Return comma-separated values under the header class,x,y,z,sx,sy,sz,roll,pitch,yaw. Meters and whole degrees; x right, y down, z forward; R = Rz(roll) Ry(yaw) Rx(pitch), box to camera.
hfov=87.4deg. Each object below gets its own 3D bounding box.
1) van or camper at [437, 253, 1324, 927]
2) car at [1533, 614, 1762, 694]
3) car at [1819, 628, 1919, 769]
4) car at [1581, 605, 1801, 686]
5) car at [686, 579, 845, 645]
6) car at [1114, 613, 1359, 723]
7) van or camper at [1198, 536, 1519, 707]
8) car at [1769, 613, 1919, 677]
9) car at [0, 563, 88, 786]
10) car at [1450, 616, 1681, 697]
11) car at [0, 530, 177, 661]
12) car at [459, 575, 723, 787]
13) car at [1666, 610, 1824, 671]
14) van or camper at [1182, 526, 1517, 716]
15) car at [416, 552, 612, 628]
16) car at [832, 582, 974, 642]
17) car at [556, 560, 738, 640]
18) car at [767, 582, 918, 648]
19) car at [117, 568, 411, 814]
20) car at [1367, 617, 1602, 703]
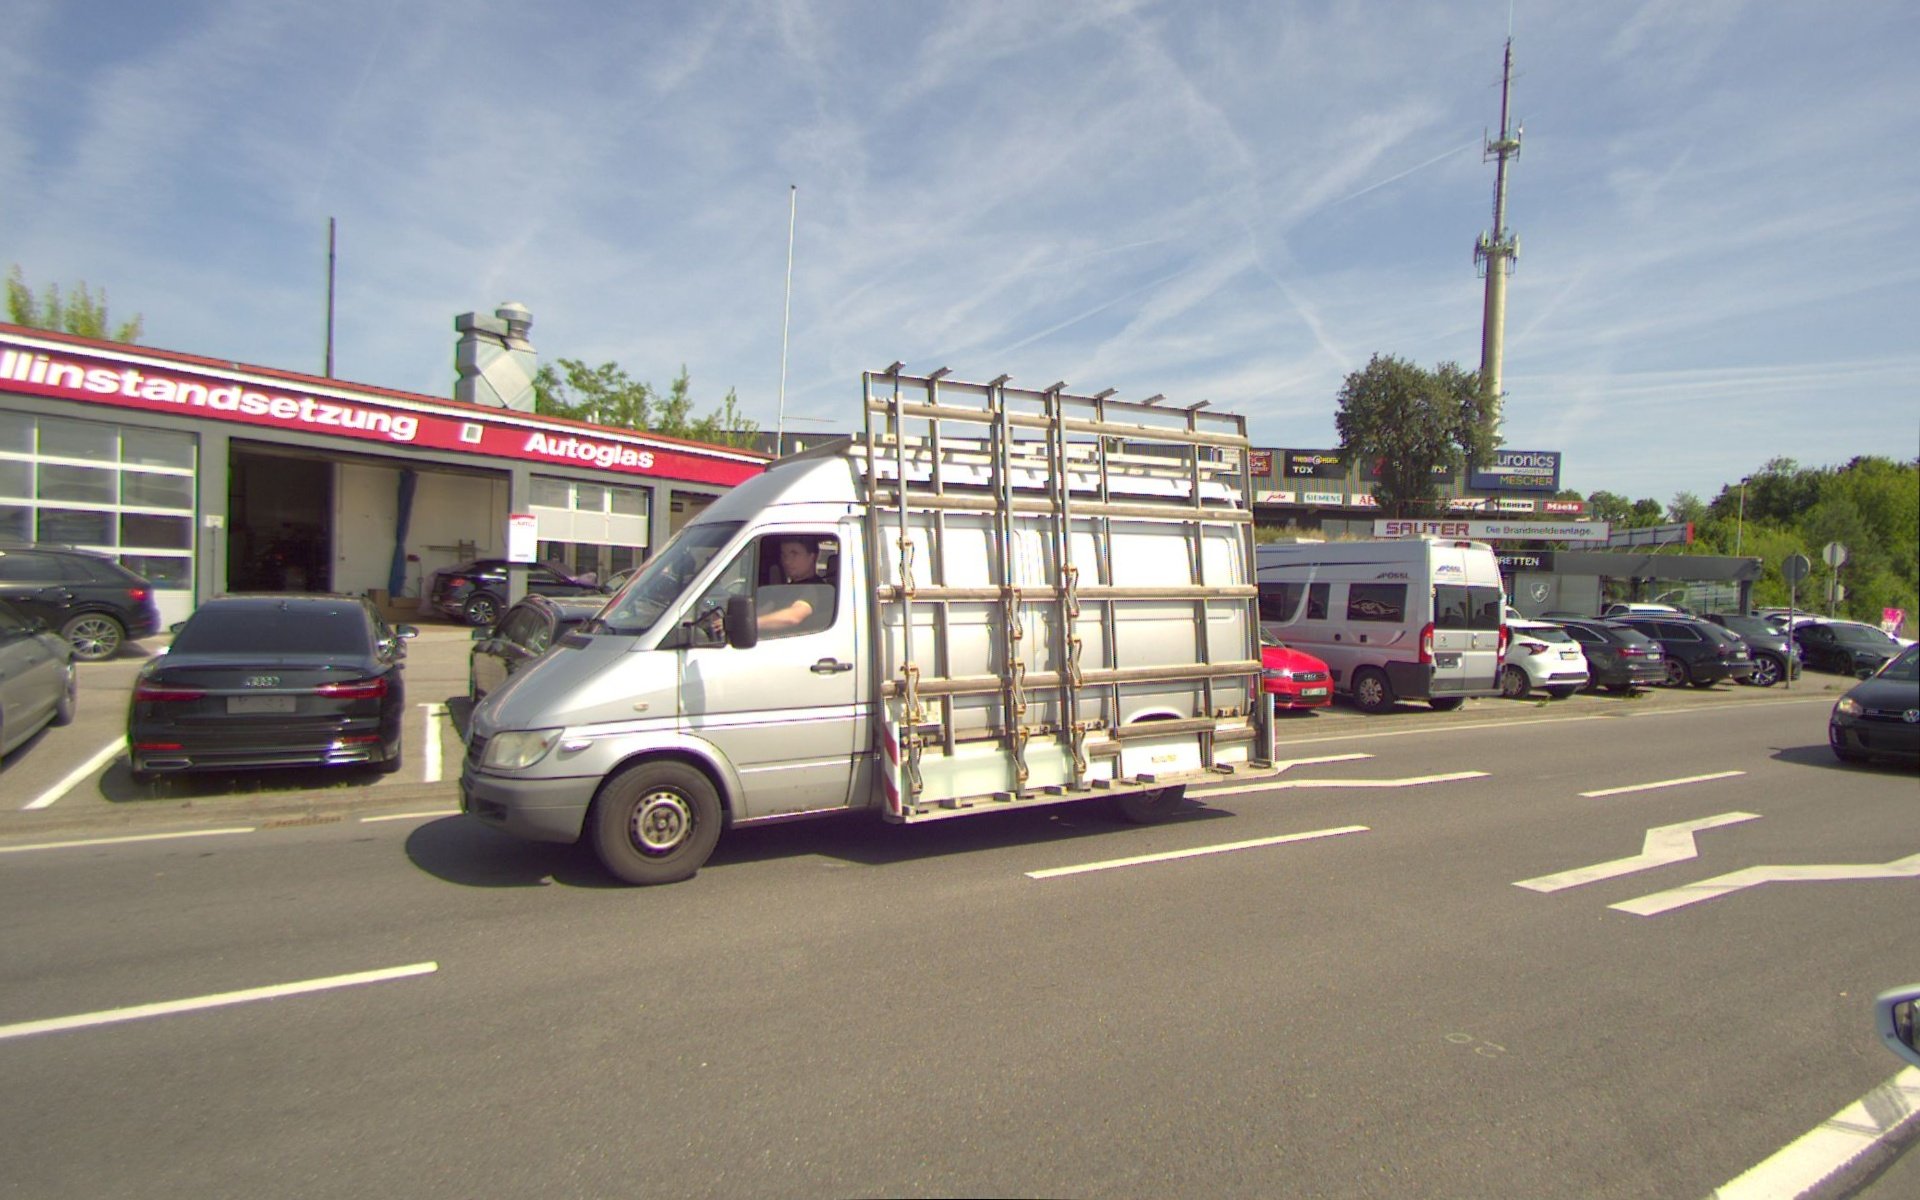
class,x,y,z,sx,sy,sz,roll,pitch,yaw
van or camper,-0.323,0.020,7.049,5.833,3.096,2.197,1,-1,-30
car,15.205,1.129,22.404,1.822,1.560,3.797,1,0,-31
car,11.488,1.053,11.246,3.879,1.428,1.658,1,-2,-30
car,17.094,1.007,23.660,1.822,1.697,3.797,1,0,-31
car,-4.708,0.261,24.086,3.771,1.451,1.761,1,0,39
car,4.293,0.997,16.076,1.790,1.500,3.578,1,-1,-29
van or camper,7.700,0.340,20.224,2.263,2.912,5.863,0,1,-30
car,26.363,1.256,29.746,2.089,1.716,4.530,1,0,16
car,-8.327,0.553,7.685,1.816,1.505,4.253,1,4,-32
car,12.668,1.126,21.237,1.822,1.467,3.797,1,0,-31
car,-13.989,-0.115,14.255,1.797,1.696,4.115,8,3,34
car,-4.087,0.640,10.599,1.752,1.505,4.434,1,4,-32
car,24.069,1.186,30.974,1.806,1.716,3.828,1,0,-1
van or camper,6.477,0.292,17.461,2.184,2.768,5.222,1,0,-29
car,-10.847,-0.199,24.591,3.986,1.694,1.888,1,0,-43
car,-1.655,0.313,28.638,3.768,1.609,1.762,1,0,37
car,-6.687,-0.010,21.320,3.887,1.553,1.762,1,0,37
car,-3.123,0.353,26.478,3.768,1.609,1.762,1,0,37
car,-6.148,0.601,9.292,1.777,1.505,4.277,1,4,-30
car,10.367,1.128,20.108,1.822,1.467,3.797,1,0,-31
